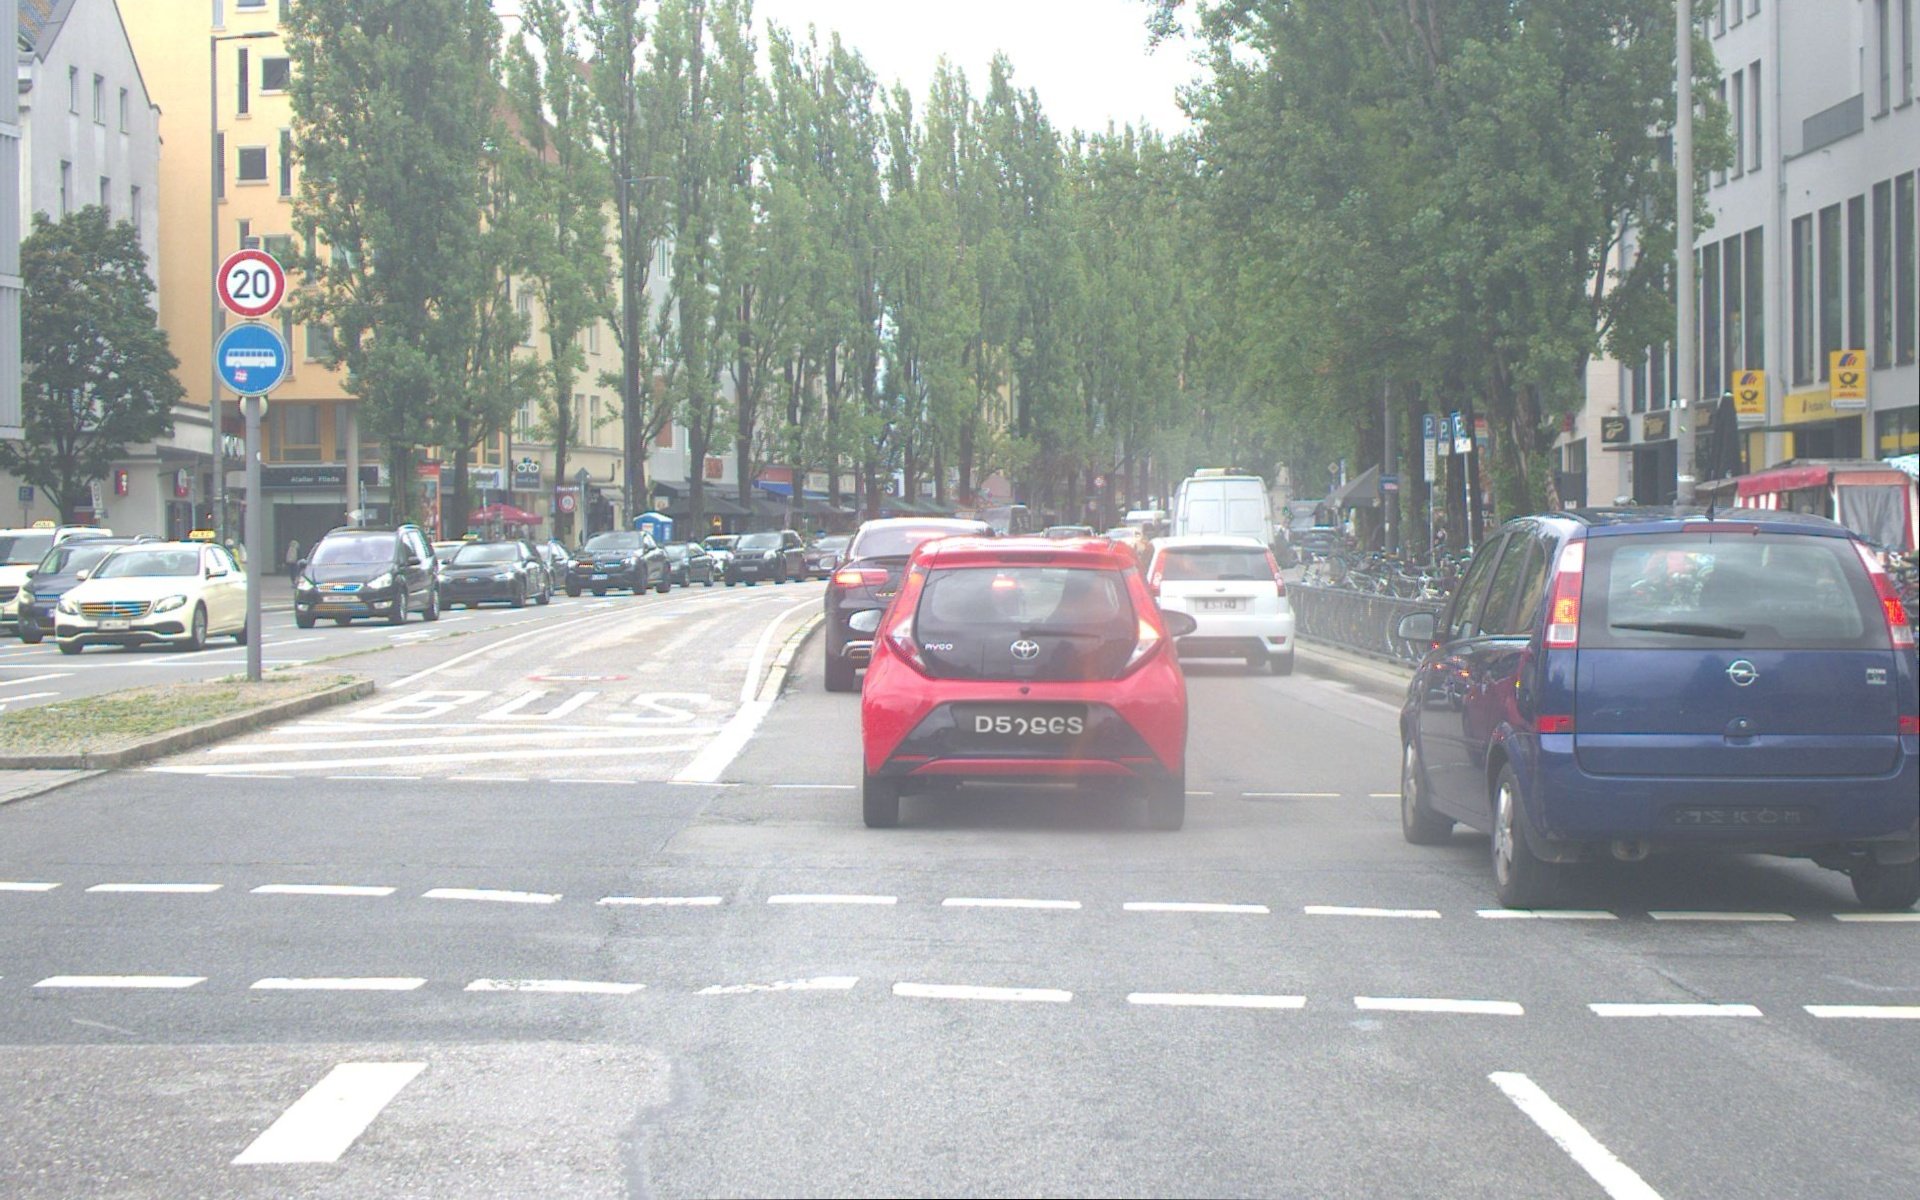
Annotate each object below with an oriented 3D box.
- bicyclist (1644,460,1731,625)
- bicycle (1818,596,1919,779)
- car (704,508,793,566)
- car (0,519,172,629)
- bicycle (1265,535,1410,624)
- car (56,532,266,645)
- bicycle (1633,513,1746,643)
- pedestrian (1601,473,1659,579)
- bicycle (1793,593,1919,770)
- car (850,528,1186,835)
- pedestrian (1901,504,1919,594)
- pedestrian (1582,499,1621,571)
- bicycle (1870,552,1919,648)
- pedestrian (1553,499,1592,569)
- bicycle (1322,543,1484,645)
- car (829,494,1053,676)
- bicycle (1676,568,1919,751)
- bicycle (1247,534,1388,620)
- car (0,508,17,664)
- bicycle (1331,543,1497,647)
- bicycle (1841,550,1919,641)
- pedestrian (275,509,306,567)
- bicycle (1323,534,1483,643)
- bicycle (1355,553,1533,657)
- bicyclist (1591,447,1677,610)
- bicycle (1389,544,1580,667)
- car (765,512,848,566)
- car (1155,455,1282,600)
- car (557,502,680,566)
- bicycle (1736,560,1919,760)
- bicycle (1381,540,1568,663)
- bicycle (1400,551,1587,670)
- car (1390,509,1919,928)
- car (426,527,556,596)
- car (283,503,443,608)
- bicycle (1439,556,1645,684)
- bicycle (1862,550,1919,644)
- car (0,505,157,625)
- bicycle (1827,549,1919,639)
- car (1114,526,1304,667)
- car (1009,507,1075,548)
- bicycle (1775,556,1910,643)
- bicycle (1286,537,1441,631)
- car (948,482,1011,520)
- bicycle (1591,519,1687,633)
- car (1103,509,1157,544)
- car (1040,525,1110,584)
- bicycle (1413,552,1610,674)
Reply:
[{"bbox_3d":[7.427,-0.596,35.151,0.614,1.652,1.251,-1,2,0],"label":"bicyclist"},{"bbox_3d":[5.767,0.510,19.781,0.498,1.025,1.601,-2,2,-43],"label":"bicycle"},{"bbox_3d":[-6.330,-1.903,103.538,1.994,1.686,4.920,0,1,5],"label":"car"},{"bbox_3d":[-13.704,-0.430,53.475,1.839,1.608,4.258,0,2,1],"label":"car"},{"bbox_3d":[4.941,-0.278,45.097,1.836,1.132,0.585,1,2,35],"label":"bicycle"},{"bbox_3d":[-10.792,-0.194,46.738,1.765,1.417,4.639,0,1,0],"label":"car"},{"bbox_3d":[7.422,-0.246,35.076,0.614,1.260,2.520,-1,2,0],"label":"bicycle"},{"bbox_3d":[11.029,-1.221,56.625,0.790,1.722,0.764,-1,1,-1],"label":"pedestrian"},{"bbox_3d":[5.797,0.485,20.509,0.498,1.025,1.601,-2,2,-43],"label":"bicycle"},{"bbox_3d":[0.284,0.358,18.032,1.605,1.456,3.130,0,1,0],"label":"car"},{"bbox_3d":[15.122,-0.805,53.835,0.598,1.397,0.580,0,1,-1],"label":"pedestrian"},{"bbox_3d":[13.946,-1.406,74.776,0.713,1.553,0.676,-1,1,-1],"label":"pedestrian"},{"bbox_3d":[9.985,-0.008,34.898,1.401,0.960,0.369,-1,1,-5],"label":"bicycle"},{"bbox_3d":[13.982,-1.508,78.457,0.764,1.588,0.676,0,1,-1],"label":"pedestrian"},{"bbox_3d":[5.074,-0.083,39.444,1.836,1.132,0.585,1,2,42],"label":"bicycle"},{"bbox_3d":[-0.209,-0.182,32.697,1.993,1.612,4.000,0,1,-1],"label":"car"},{"bbox_3d":[5.676,0.374,22.687,1.803,1.154,0.547,1,2,37],"label":"bicycle"},{"bbox_3d":[4.835,-0.317,46.564,1.836,1.132,0.585,1,2,35],"label":"bicycle"},{"bbox_3d":[-11.169,-0.084,35.131,1.743,1.664,4.733,-1,2,0],"label":"car"},{"bbox_3d":[5.102,-0.070,38.682,1.836,1.132,0.585,1,2,42],"label":"bicycle"},{"bbox_3d":[10.128,-0.049,36.923,1.261,0.960,0.369,-1,1,9],"label":"bicycle"},{"bbox_3d":[-21.009,-1.957,107.850,0.688,1.804,0.765,0,1,11],"label":"pedestrian"},{"bbox_3d":[5.157,-0.149,40.109,1.836,1.237,0.585,1,2,42],"label":"bicycle"},{"bbox_3d":[5.051,0.038,35.952,1.836,1.048,0.585,1,2,42],"label":"bicycle"},{"bbox_3d":[7.847,-0.843,40.065,0.762,1.863,1.133,-1,2,0],"label":"bicyclist"},{"bbox_3d":[5.138,0.040,33.761,1.836,1.164,0.585,1,2,42],"label":"bicycle"},{"bbox_3d":[-5.038,-1.992,113.484,1.994,1.686,4.920,0,0,6],"label":"car"},{"bbox_3d":[4.981,-1.424,66.897,2.107,2.709,4.804,0,1,0],"label":"car"},{"bbox_3d":[-8.329,-1.628,84.278,1.994,1.529,4.586,0,1,8],"label":"car"},{"bbox_3d":[5.752,0.362,21.294,1.803,1.194,0.558,1,2,43],"label":"bicycle"},{"bbox_3d":[5.156,0.003,34.543,1.836,1.193,0.585,1,2,42],"label":"bicycle"},{"bbox_3d":[5.127,0.086,33.099,1.803,1.107,0.490,1,2,42],"label":"bicycle"},{"bbox_3d":[2.944,0.406,14.839,1.703,1.584,3.556,0,1,0],"label":"car"},{"bbox_3d":[-9.805,-0.824,72.128,1.845,1.377,4.600,0,1,3],"label":"car"},{"bbox_3d":[-10.307,-0.805,59.655,1.936,1.733,4.589,-1,1,0],"label":"car"},{"bbox_3d":[5.239,0.164,31.008,1.803,1.107,0.561,1,2,41],"label":"bicycle"},{"bbox_3d":[10.105,-0.040,36.117,1.224,0.960,0.369,-1,2,-22],"label":"bicycle"},{"bbox_3d":[-16.434,-0.680,62.581,1.994,2.006,5.523,-1,2,4],"label":"car"},{"bbox_3d":[10.116,-0.066,37.405,1.261,0.960,0.369,-1,1,3],"label":"bicycle"},{"bbox_3d":[2.621,-0.072,36.852,1.699,1.421,3.497,0,1,-1],"label":"car"},{"bbox_3d":[3.514,-3.116,146.801,1.994,1.686,4.412,0,2,12],"label":"car"},{"bbox_3d":[9.977,-0.010,38.896,1.432,0.960,0.369,-1,1,6],"label":"bicycle"},{"bbox_3d":[4.970,-0.211,42.368,1.836,1.132,0.585,1,2,35],"label":"bicycle"},{"bbox_3d":[0.898,-4.490,156.098,1.994,1.686,4.412,0,2,12],"label":"car"},{"bbox_3d":[7.876,-0.296,39.956,0.614,1.260,2.520,-1,2,0],"label":"bicycle"},{"bbox_3d":[8.364,-3.624,168.932,1.994,1.686,4.412,0,1,12],"label":"car"},{"bbox_3d":[3.753,-1.491,111.907,1.994,1.831,3.999,-1,1,6],"label":"car"},{"bbox_3d":[5.191,0.104,32.434,1.803,1.107,0.585,1,2,42],"label":"bicycle"}]
